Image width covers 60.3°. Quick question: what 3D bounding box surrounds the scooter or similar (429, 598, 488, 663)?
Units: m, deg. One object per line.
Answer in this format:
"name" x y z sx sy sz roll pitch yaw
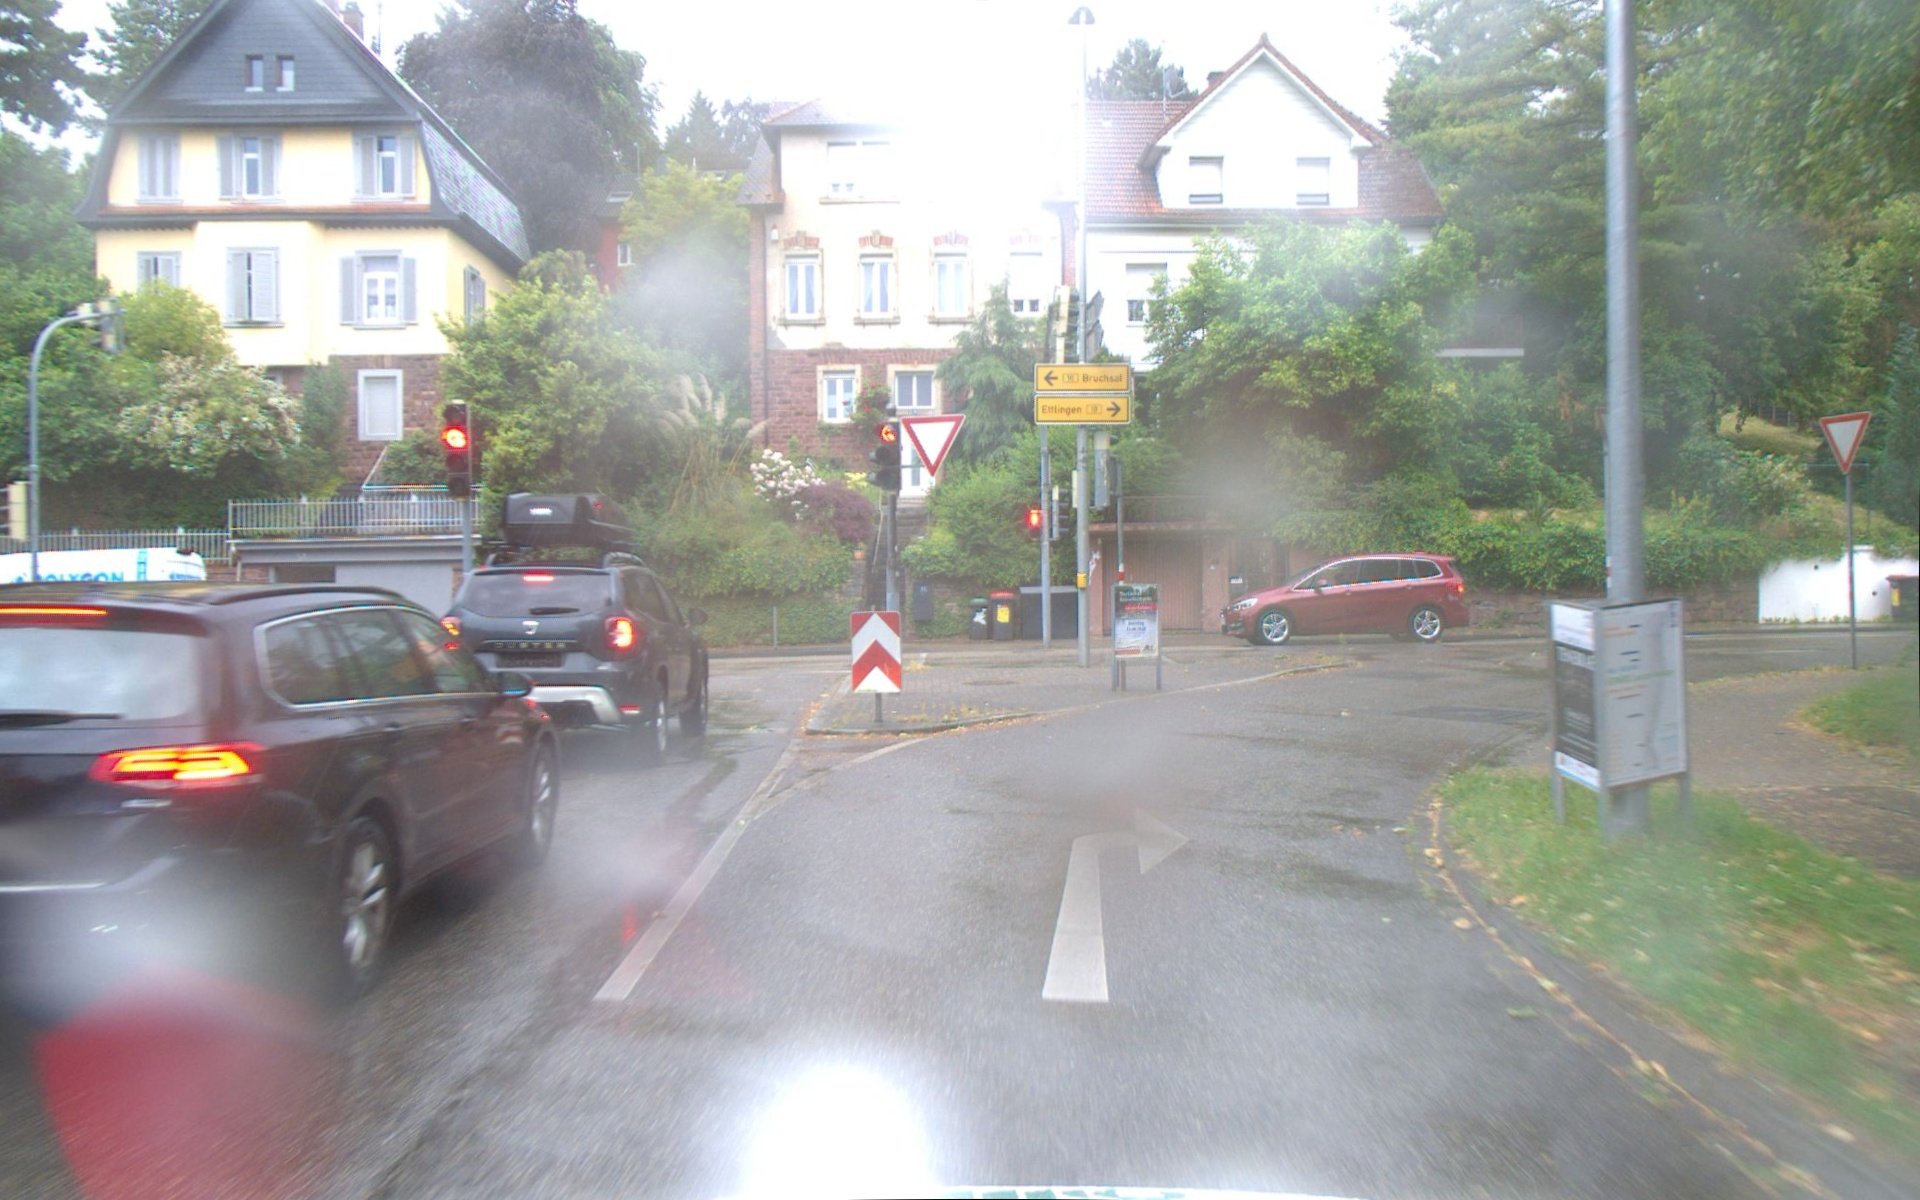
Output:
"scooter or similar" -10.766 0.649 35.517 1.085 1.358 0.454 -1 -1 -43

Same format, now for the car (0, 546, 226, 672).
"car" -18.601 0.203 34.473 5.544 2.538 2.316 0 -1 1

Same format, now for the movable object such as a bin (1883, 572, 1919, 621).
"movable object such as a bin" 21.270 -0.073 37.095 0.736 1.079 0.689 -2 -1 0

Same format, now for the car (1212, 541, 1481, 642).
"car" 7.015 -0.133 30.352 4.474 1.629 1.775 -2 -1 0

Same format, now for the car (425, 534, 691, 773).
"car" -3.318 0.337 14.451 1.727 1.741 4.594 0 1 -7

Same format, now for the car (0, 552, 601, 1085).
"car" -2.930 0.565 7.061 1.794 1.481 4.658 2 2 -1

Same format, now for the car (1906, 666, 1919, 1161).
"car" 3.242 0.647 2.312 1.714 1.517 3.599 2 0 -1
